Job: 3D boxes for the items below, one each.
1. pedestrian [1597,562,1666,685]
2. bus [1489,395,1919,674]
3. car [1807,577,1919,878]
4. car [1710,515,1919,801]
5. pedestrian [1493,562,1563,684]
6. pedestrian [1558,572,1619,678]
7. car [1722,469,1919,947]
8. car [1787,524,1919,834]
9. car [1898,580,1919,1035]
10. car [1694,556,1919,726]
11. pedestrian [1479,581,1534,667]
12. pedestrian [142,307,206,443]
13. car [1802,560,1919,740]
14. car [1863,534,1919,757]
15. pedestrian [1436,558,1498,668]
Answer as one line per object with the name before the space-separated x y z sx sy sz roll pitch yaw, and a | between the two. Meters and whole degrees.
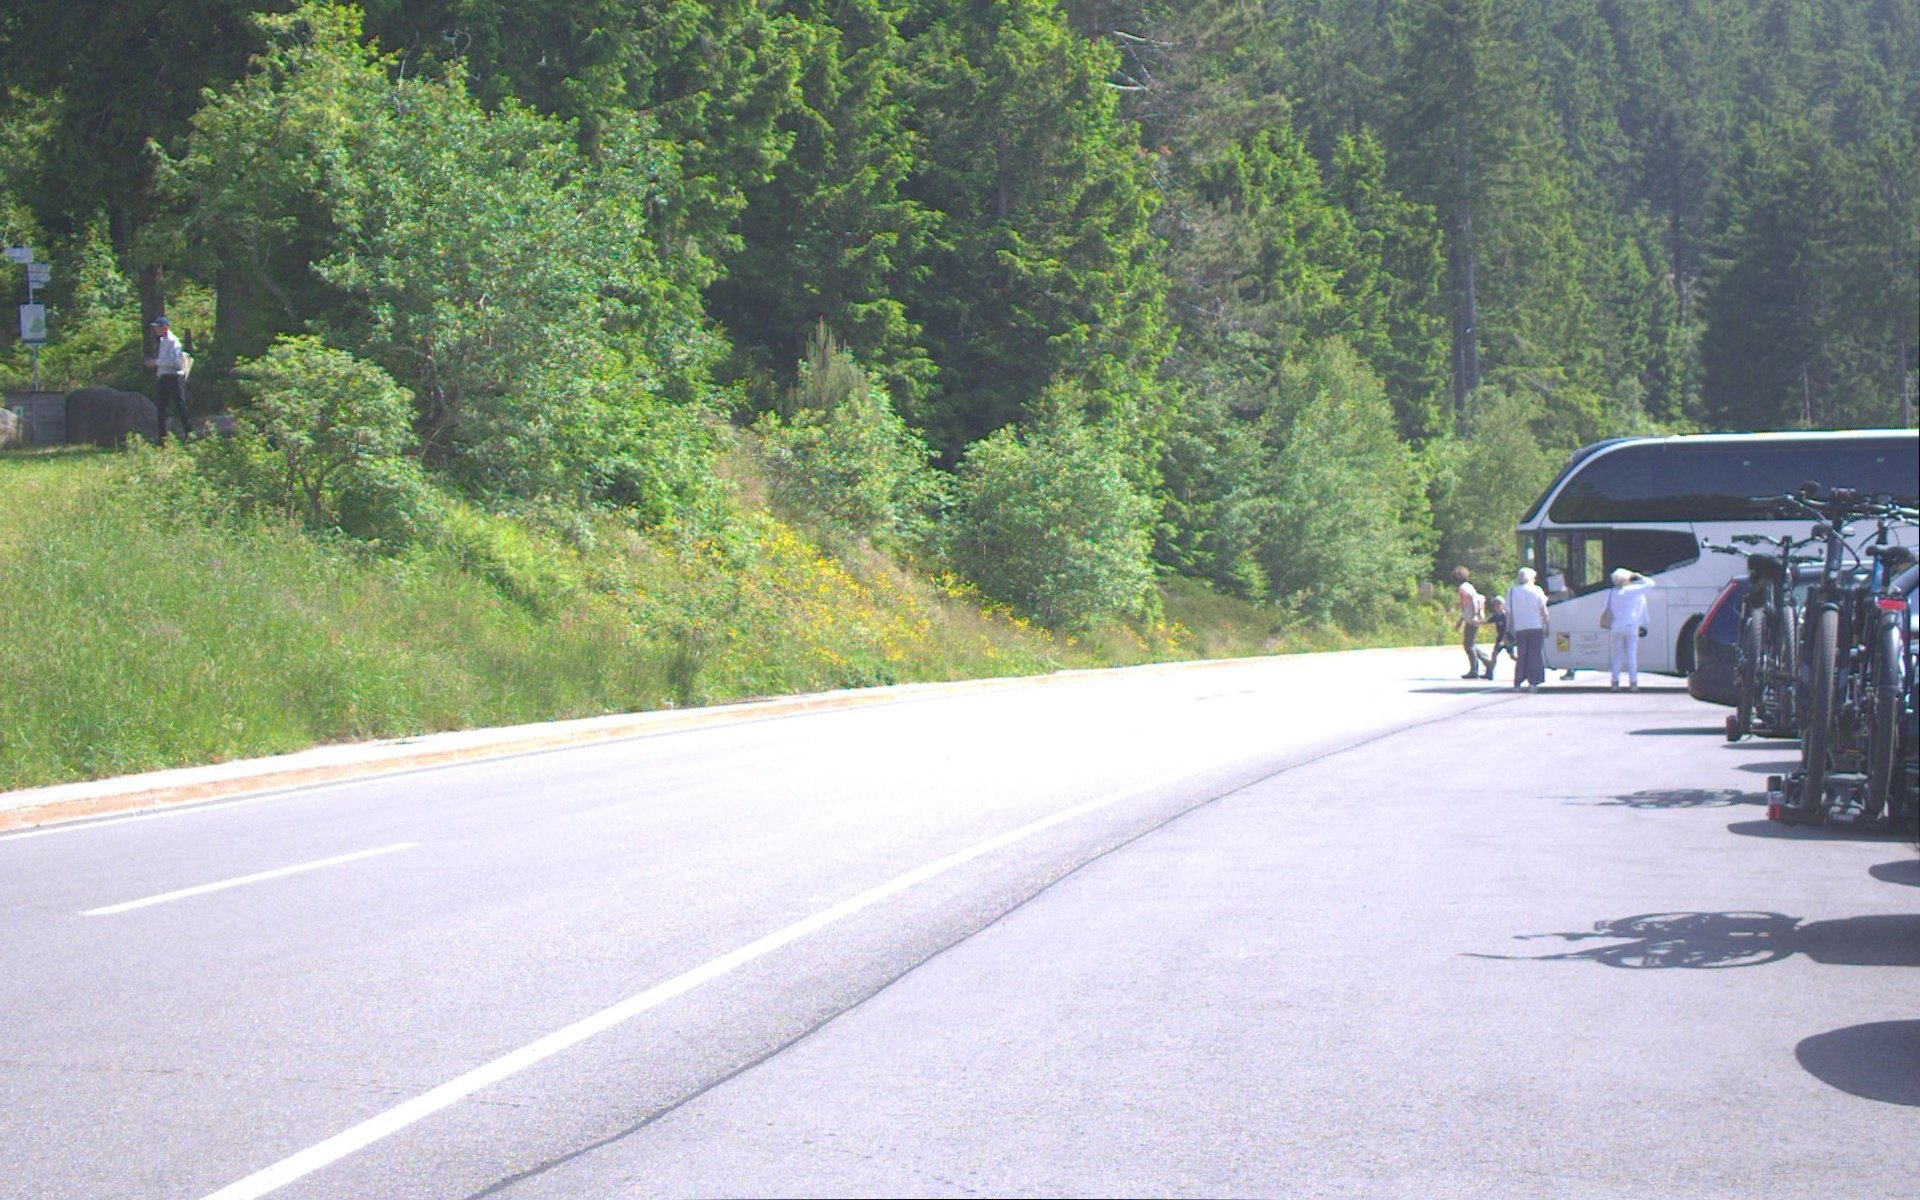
pedestrian | 8.818 0.303 45.142 0.771 1.580 0.772 -2 0 18
bus | 13.860 -0.942 45.581 13.107 3.520 3.040 -2 0 21
car | 6.006 0.491 15.256 4.246 1.264 1.837 -2 0 11
car | 7.145 0.276 20.713 5.036 1.645 2.047 -2 0 11
pedestrian | 7.546 0.297 45.625 0.771 1.580 0.772 -2 0 18
pedestrian | 9.600 0.372 52.495 0.854 1.580 0.818 -2 0 13
car | 5.374 0.335 12.682 4.952 1.690 1.944 -1 1 13
car | 6.536 0.339 17.847 4.246 1.548 1.837 -2 0 11
car | 4.899 0.667 9.696 4.082 1.372 1.702 1 1 5
car | 8.703 0.329 31.046 3.989 1.444 1.860 -2 0 11
pedestrian | 8.304 0.354 52.265 0.734 1.275 0.783 -2 0 6
pedestrian | -11.173 -3.190 48.861 0.680 1.871 0.542 -2 0 5
car | 8.866 0.348 27.593 3.989 1.393 1.619 -2 0 11
car | 8.548 0.253 24.409 3.989 1.548 1.659 -2 0 11
pedestrian | 7.837 0.196 53.163 0.854 1.677 0.870 -2 0 5
